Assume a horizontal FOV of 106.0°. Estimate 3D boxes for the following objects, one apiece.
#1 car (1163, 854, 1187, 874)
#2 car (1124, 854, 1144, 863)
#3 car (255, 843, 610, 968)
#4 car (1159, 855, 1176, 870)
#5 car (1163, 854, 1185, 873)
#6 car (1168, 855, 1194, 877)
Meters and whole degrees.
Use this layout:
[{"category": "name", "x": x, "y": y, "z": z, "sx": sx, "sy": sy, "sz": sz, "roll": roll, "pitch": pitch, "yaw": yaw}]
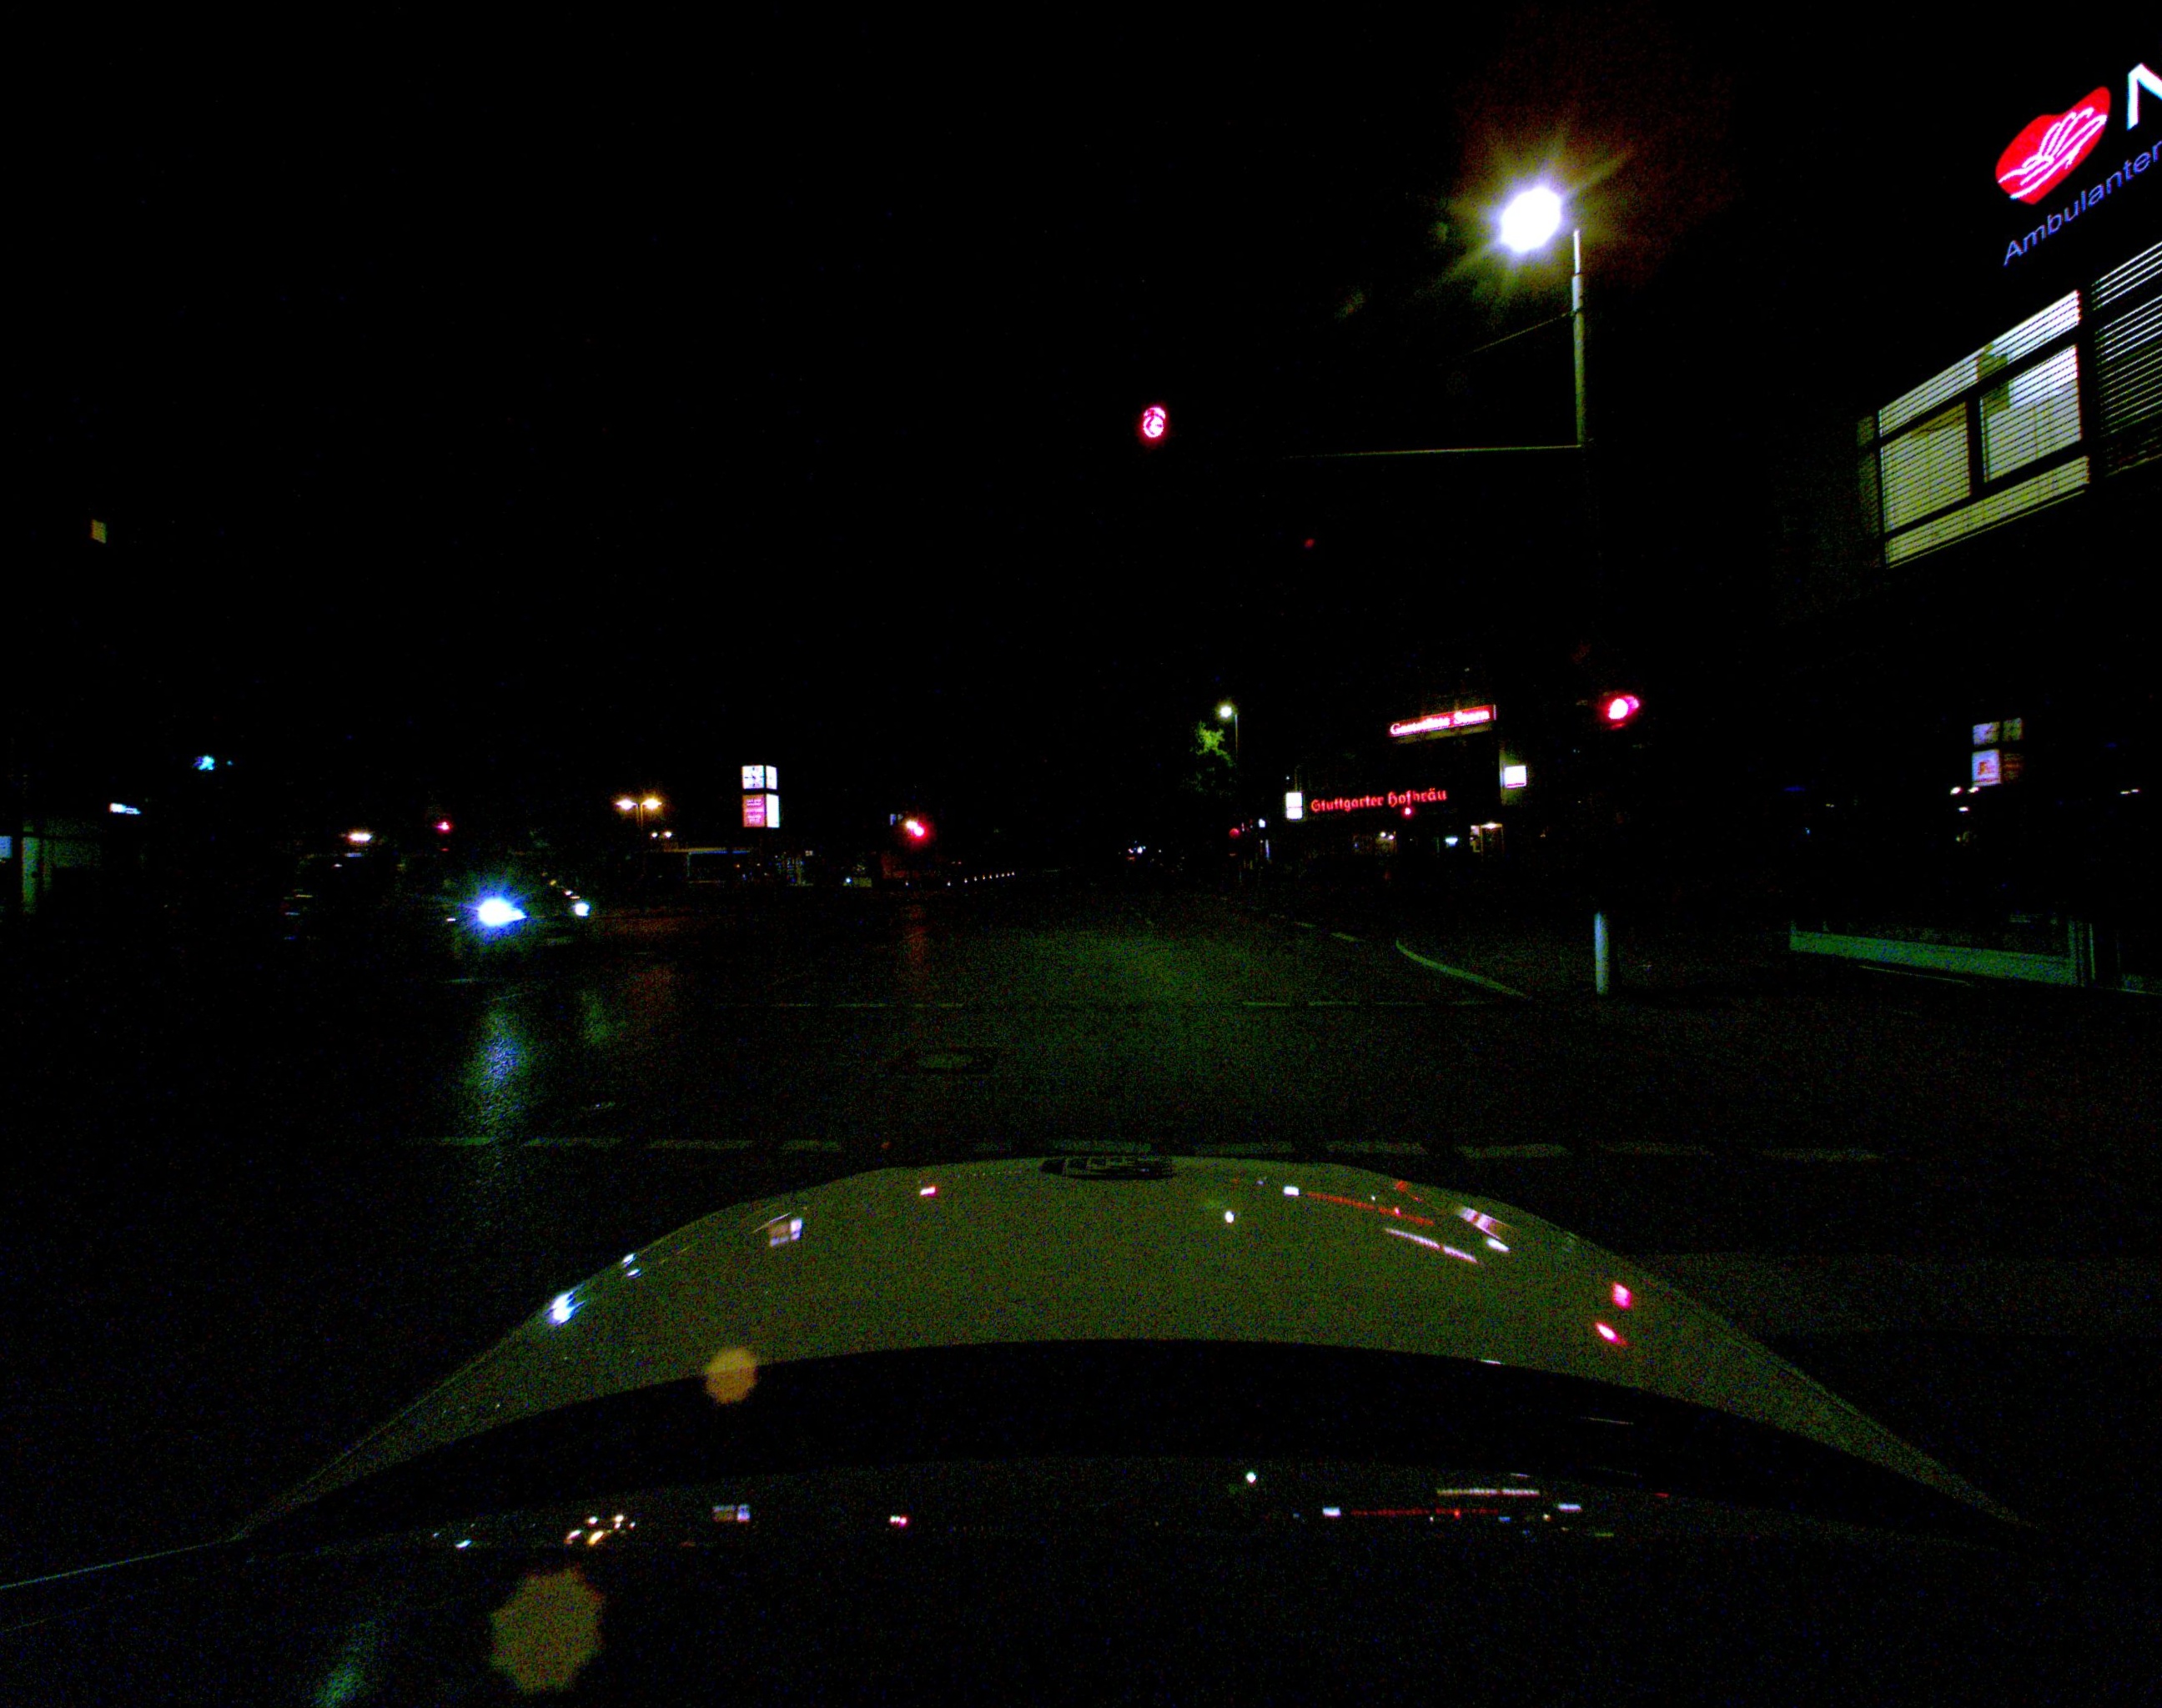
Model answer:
[{"category": "car", "x": 7.882, "y": 0.826, "z": 68.777, "sx": 1.868, "sy": 1.615, "sz": 4.005, "roll": -2, "pitch": -1, "yaw": 5}, {"category": "car", "x": 10.580, "y": 0.887, "z": 162.394, "sx": 2.205, "sy": 1.651, "sz": 4.025, "roll": -2, "pitch": -1, "yaw": 34}, {"category": "car", "x": -10.844, "y": 0.853, "z": 13.743, "sx": 4.863, "sy": 1.871, "sz": 1.980, "roll": -2, "pitch": -1, "yaw": 12}, {"category": "car", "x": 10.041, "y": 0.940, "z": 94.498, "sx": 1.868, "sy": 1.683, "sz": 4.005, "roll": -2, "pitch": -1, "yaw": 5}, {"category": "car", "x": 8.677, "y": 0.872, "z": 76.434, "sx": 1.868, "sy": 1.729, "sz": 4.005, "roll": -2, "pitch": -1, "yaw": 5}, {"category": "car", "x": 7.796, "y": 0.917, "z": 63.795, "sx": 1.868, "sy": 1.615, "sz": 4.005, "roll": -2, "pitch": -1, "yaw": 5}]
